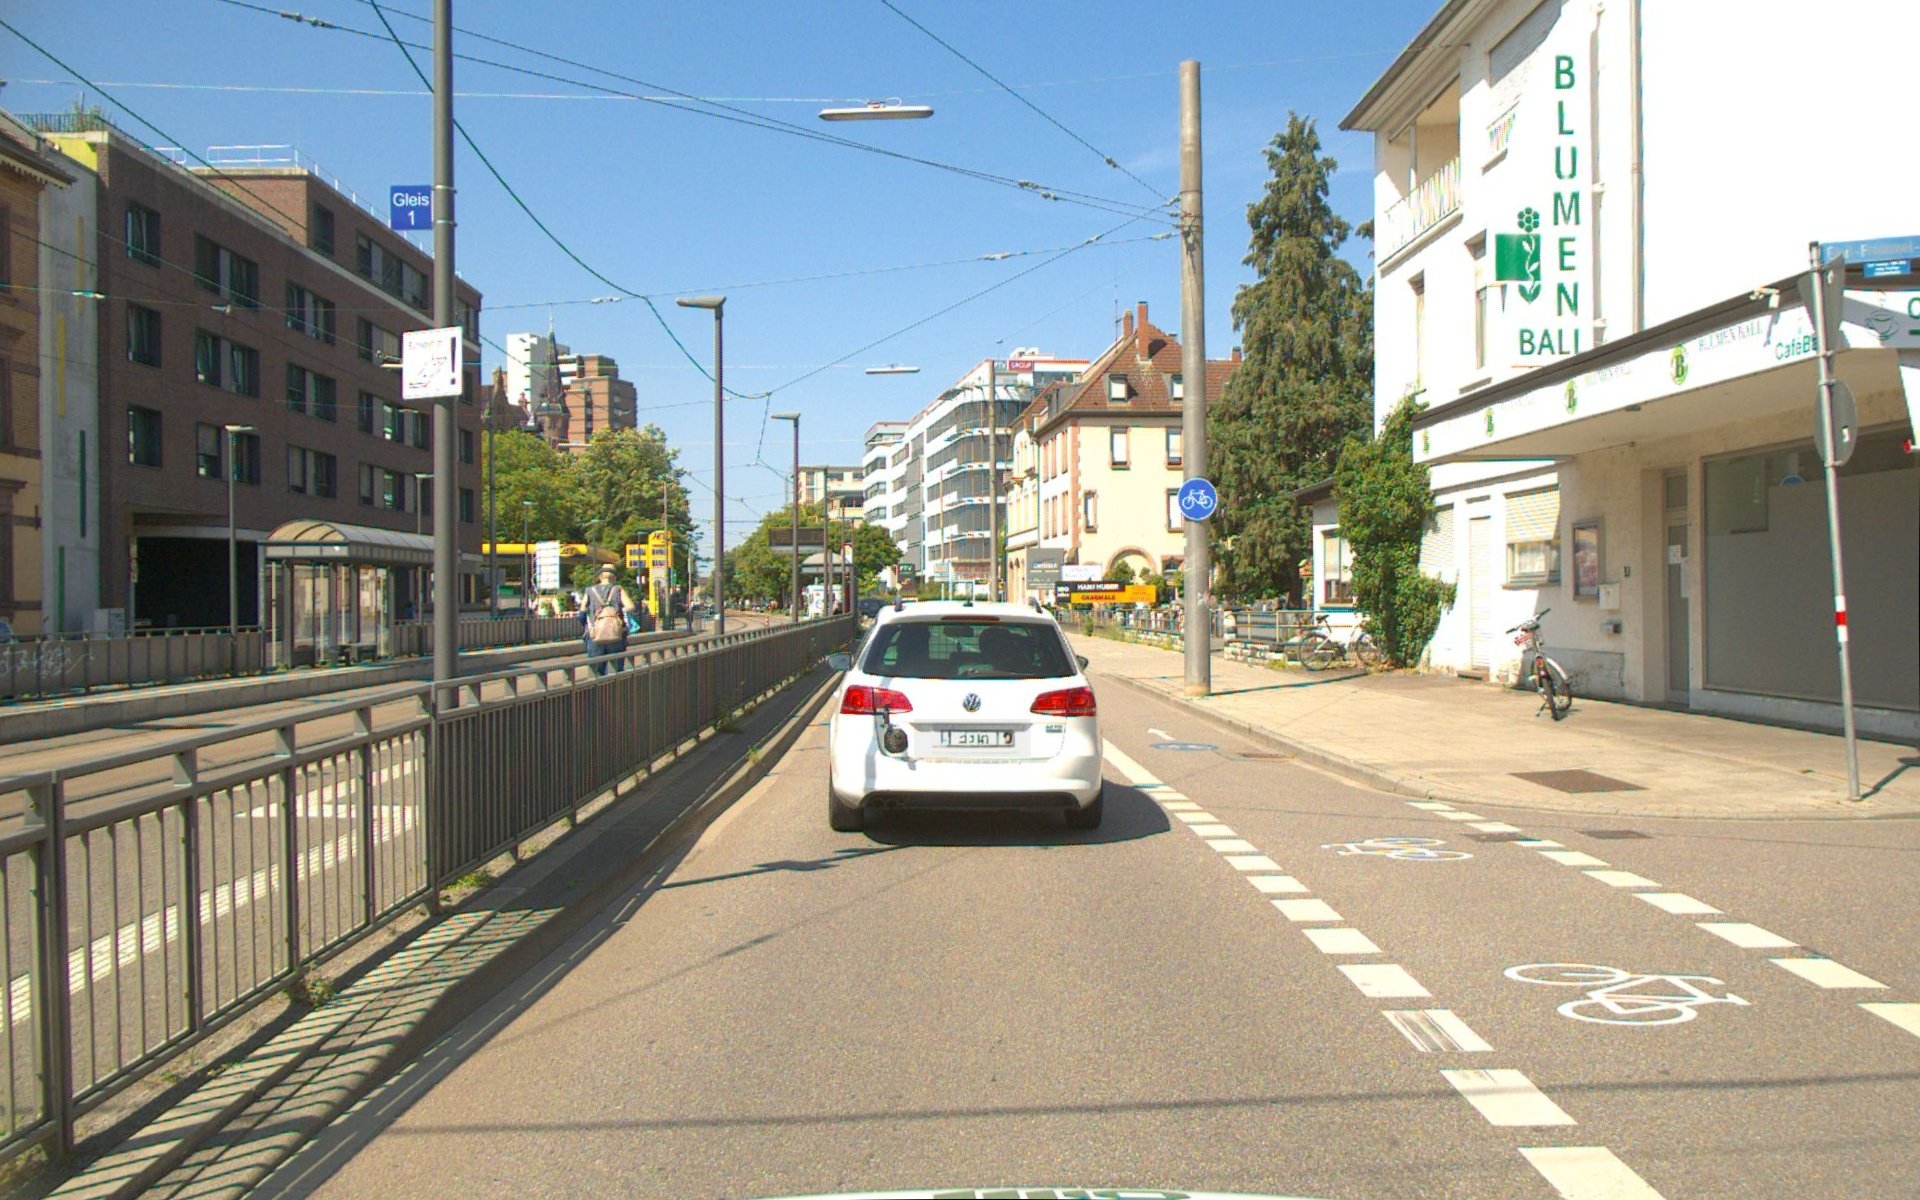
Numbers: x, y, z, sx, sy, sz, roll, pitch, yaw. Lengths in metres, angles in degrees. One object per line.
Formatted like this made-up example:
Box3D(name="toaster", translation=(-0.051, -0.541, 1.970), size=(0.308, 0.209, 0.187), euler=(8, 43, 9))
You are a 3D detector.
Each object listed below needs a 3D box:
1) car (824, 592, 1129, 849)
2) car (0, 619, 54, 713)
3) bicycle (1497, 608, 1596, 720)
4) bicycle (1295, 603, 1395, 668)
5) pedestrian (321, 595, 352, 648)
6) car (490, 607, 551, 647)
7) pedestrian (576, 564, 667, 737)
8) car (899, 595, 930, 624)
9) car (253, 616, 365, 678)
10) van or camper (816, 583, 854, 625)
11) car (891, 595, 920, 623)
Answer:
Box3D(name="car", translation=(0.056, 0.696, 11.412), size=(1.717, 1.442, 3.852), euler=(1, 0, -1))
Box3D(name="car", translation=(-15.995, 1.071, 26.029), size=(1.541, 1.484, 3.736), euler=(-1, 0, -3))
Box3D(name="bicycle", translation=(6.582, 0.690, 18.665), size=(0.710, 1.159, 2.196), euler=(-1, 0, 11))
Box3D(name="bicycle", translation=(6.983, 0.638, 30.048), size=(1.677, 1.150, 0.525), euler=(-1, 0, 0))
Box3D(name="pedestrian", translation=(-22.078, 0.759, 58.550), size=(0.710, 1.822, 0.964), euler=(-1, 0, -2))
Box3D(name="car", translation=(-17.231, 1.043, 64.924), size=(1.541, 1.484, 3.736), euler=(-1, 0, -3))
Box3D(name="pedestrian", translation=(-3.704, 0.543, 18.172), size=(0.810, 1.841, 0.833), euler=(-1, 0, -1))
Box3D(name="car", translation=(-3.347, 0.666, 120.410), size=(1.955, 2.049, 3.995), euler=(-1, 0, -6))
Box3D(name="car", translation=(-17.003, 1.202, 43.386), size=(1.541, 1.484, 3.932), euler=(-1, 0, -3))
Box3D(name="van or camper", translation=(-10.150, 0.327, 133.573), size=(2.887, 3.235, 6.605), euler=(-1, 0, -6))
Box3D(name="car", translation=(-4.154, 0.698, 125.806), size=(1.955, 2.049, 3.995), euler=(-1, 0, -6))
